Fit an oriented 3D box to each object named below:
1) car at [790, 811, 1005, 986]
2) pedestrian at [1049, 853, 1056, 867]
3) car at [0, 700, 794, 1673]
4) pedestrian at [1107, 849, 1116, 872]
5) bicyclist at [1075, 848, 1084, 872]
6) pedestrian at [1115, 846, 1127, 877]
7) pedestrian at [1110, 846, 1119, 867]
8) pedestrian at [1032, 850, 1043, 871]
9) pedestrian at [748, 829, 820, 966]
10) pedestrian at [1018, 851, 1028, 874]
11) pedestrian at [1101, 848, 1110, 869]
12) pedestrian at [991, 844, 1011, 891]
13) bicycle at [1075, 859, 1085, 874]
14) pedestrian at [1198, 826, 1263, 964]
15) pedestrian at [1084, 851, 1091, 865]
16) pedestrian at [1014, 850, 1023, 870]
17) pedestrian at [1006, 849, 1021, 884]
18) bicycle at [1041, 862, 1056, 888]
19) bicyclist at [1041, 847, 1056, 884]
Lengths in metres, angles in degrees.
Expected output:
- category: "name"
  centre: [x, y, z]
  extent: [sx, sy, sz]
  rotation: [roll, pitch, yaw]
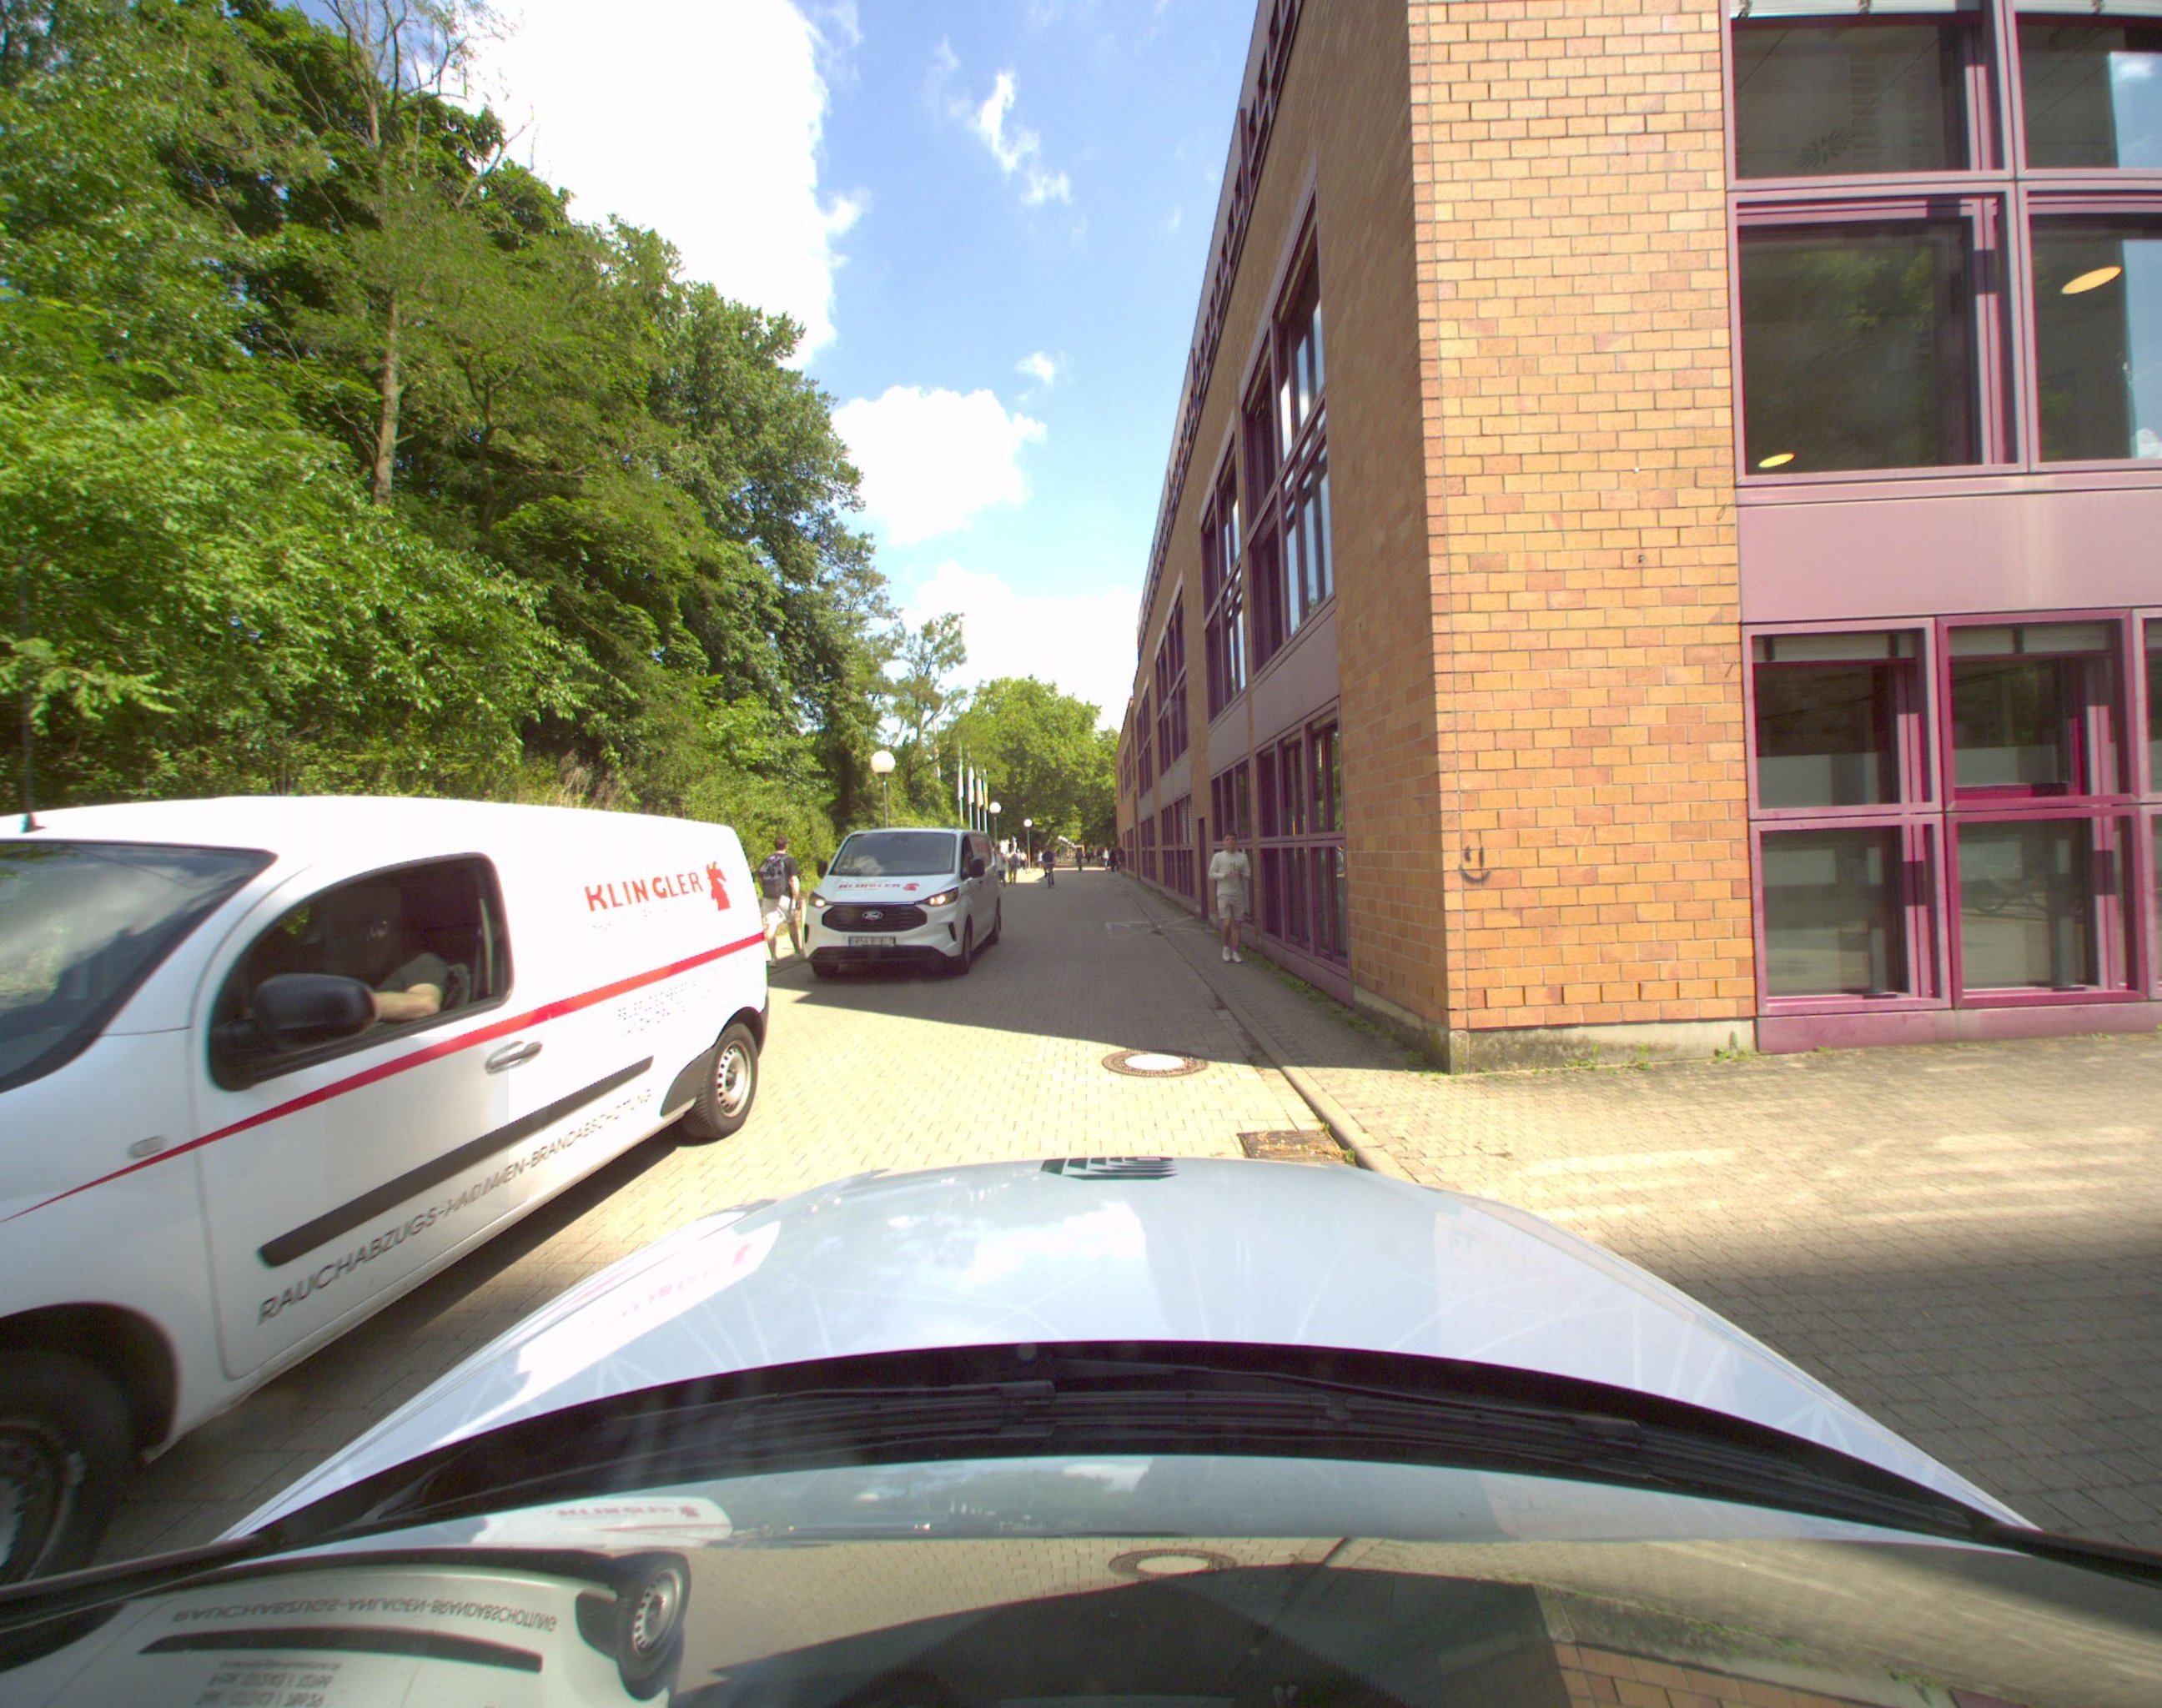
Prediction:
- category: "car"
  centre: [-2.375, 0.523, 12.090]
  extent: [1.877, 1.974, 5.215]
  rotation: [-2, 0, 1]
- category: "pedestrian"
  centre: [-3.530, 0.718, 102.454]
  extent: [0.722, 1.672, 0.748]
  rotation: [-3, -2, 2]
- category: "car"
  centre: [-2.825, 0.635, 2.958]
  extent: [1.783, 1.762, 4.483]
  rotation: [-3, 0, 2]
- category: "pedestrian"
  centre: [2.229, 0.462, 59.848]
  extent: [0.584, 1.672, 0.817]
  rotation: [-3, -2, 2]
- category: "bicyclist"
  centre: [-0.118, 0.452, 60.949]
  extent: [0.585, 1.716, 0.665]
  rotation: [-2, -1, -3]
- category: "pedestrian"
  centre: [2.298, 0.433, 46.549]
  extent: [0.584, 1.672, 0.699]
  rotation: [-3, -2, 2]
- category: "pedestrian"
  centre: [3.154, 0.263, 76.700]
  extent: [0.651, 1.922, 0.817]
  rotation: [-3, -2, 2]
- category: "pedestrian"
  centre: [-3.591, 0.550, 67.042]
  extent: [0.722, 1.672, 0.748]
  rotation: [-3, -2, 2]
- category: "pedestrian"
  centre: [-4.172, 0.594, 11.476]
  extent: [0.680, 1.844, 0.783]
  rotation: [-2, -1, 1]
- category: "pedestrian"
  centre: [-4.397, 0.631, 61.496]
  extent: [0.584, 1.672, 0.699]
  rotation: [-3, -2, 2]
- category: "pedestrian"
  centre: [2.313, 0.425, 76.619]
  extent: [0.651, 1.922, 0.817]
  rotation: [-3, -2, 2]
- category: "pedestrian"
  centre: [-3.093, 0.531, 31.401]
  extent: [0.584, 1.765, 0.699]
  rotation: [-3, -2, 2]
- category: "bicycle"
  centre: [-0.091, 0.911, 60.742]
  extent: [0.585, 1.083, 1.906]
  rotation: [-2, 0, -3]
- category: "pedestrian"
  centre: [1.967, 0.529, 10.832]
  extent: [0.680, 1.747, 0.783]
  rotation: [-2, -1, 1]
- category: "pedestrian"
  centre: [0.840, 0.537, 105.886]
  extent: [0.722, 1.672, 0.748]
  rotation: [-3, -2, 2]
- category: "pedestrian"
  centre: [-5.244, 0.492, 68.721]
  extent: [0.584, 1.672, 0.699]
  rotation: [-3, -2, 2]
- category: "pedestrian"
  centre: [-3.286, 0.623, 39.640]
  extent: [0.584, 1.672, 0.699]
  rotation: [-3, -2, 2]
- category: "bicycle"
  centre: [-1.420, 0.916, 35.615]
  extent: [0.585, 1.083, 1.812]
  rotation: [-2, 0, -3]
- category: "bicyclist"
  centre: [-1.429, 0.493, 35.588]
  extent: [0.585, 1.573, 0.828]
  rotation: [-2, -1, -3]
